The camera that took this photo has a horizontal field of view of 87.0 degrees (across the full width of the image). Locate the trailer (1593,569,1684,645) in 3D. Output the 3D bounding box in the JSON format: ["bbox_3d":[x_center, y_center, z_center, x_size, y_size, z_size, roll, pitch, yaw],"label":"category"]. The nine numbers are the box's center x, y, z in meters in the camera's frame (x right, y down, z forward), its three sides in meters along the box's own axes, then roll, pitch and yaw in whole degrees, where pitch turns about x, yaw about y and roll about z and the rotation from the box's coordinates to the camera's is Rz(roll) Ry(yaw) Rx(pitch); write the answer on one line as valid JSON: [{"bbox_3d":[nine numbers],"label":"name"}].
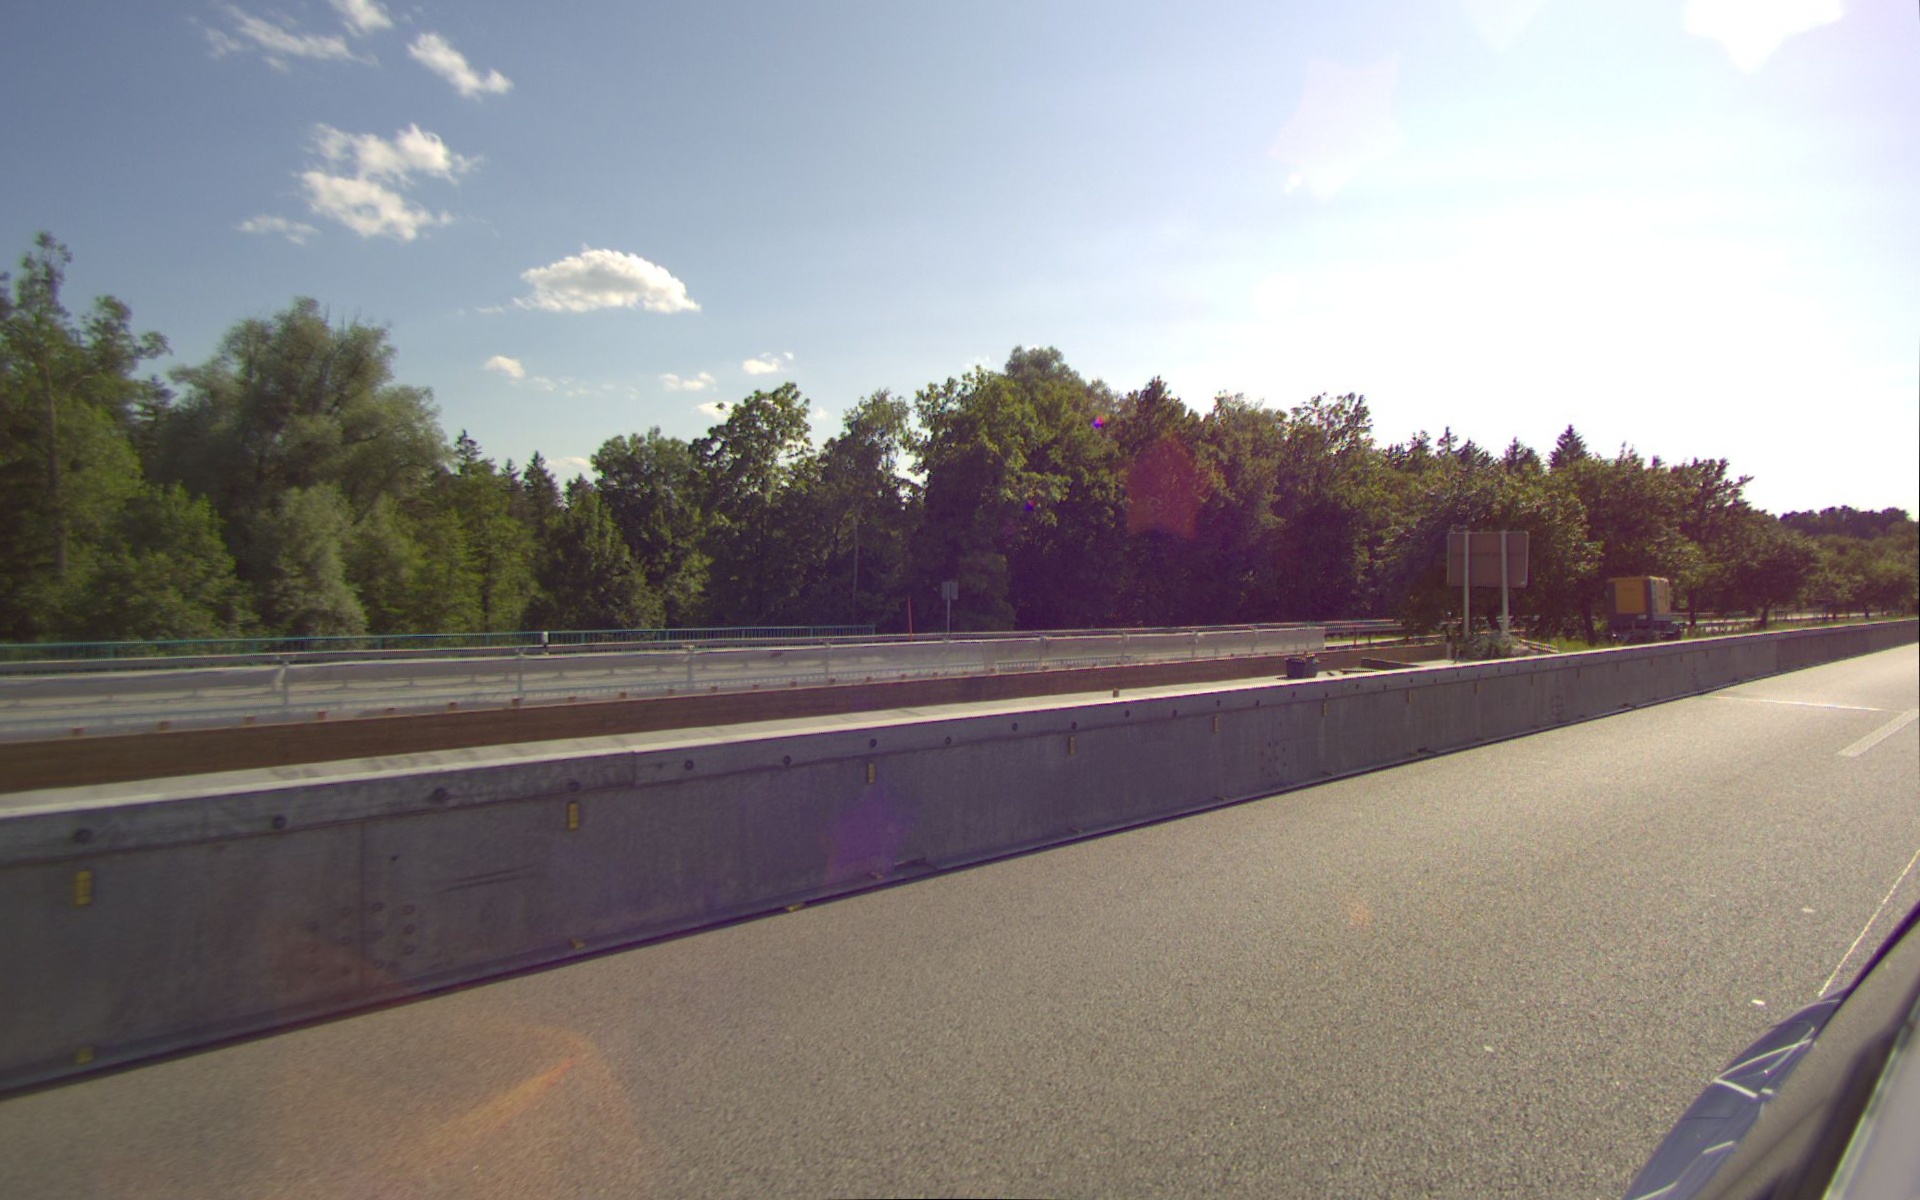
[{"bbox_3d":[18.243,0.150,27.146,3.932,1.897,1.126,0,2,-43],"label":"trailer"}]
